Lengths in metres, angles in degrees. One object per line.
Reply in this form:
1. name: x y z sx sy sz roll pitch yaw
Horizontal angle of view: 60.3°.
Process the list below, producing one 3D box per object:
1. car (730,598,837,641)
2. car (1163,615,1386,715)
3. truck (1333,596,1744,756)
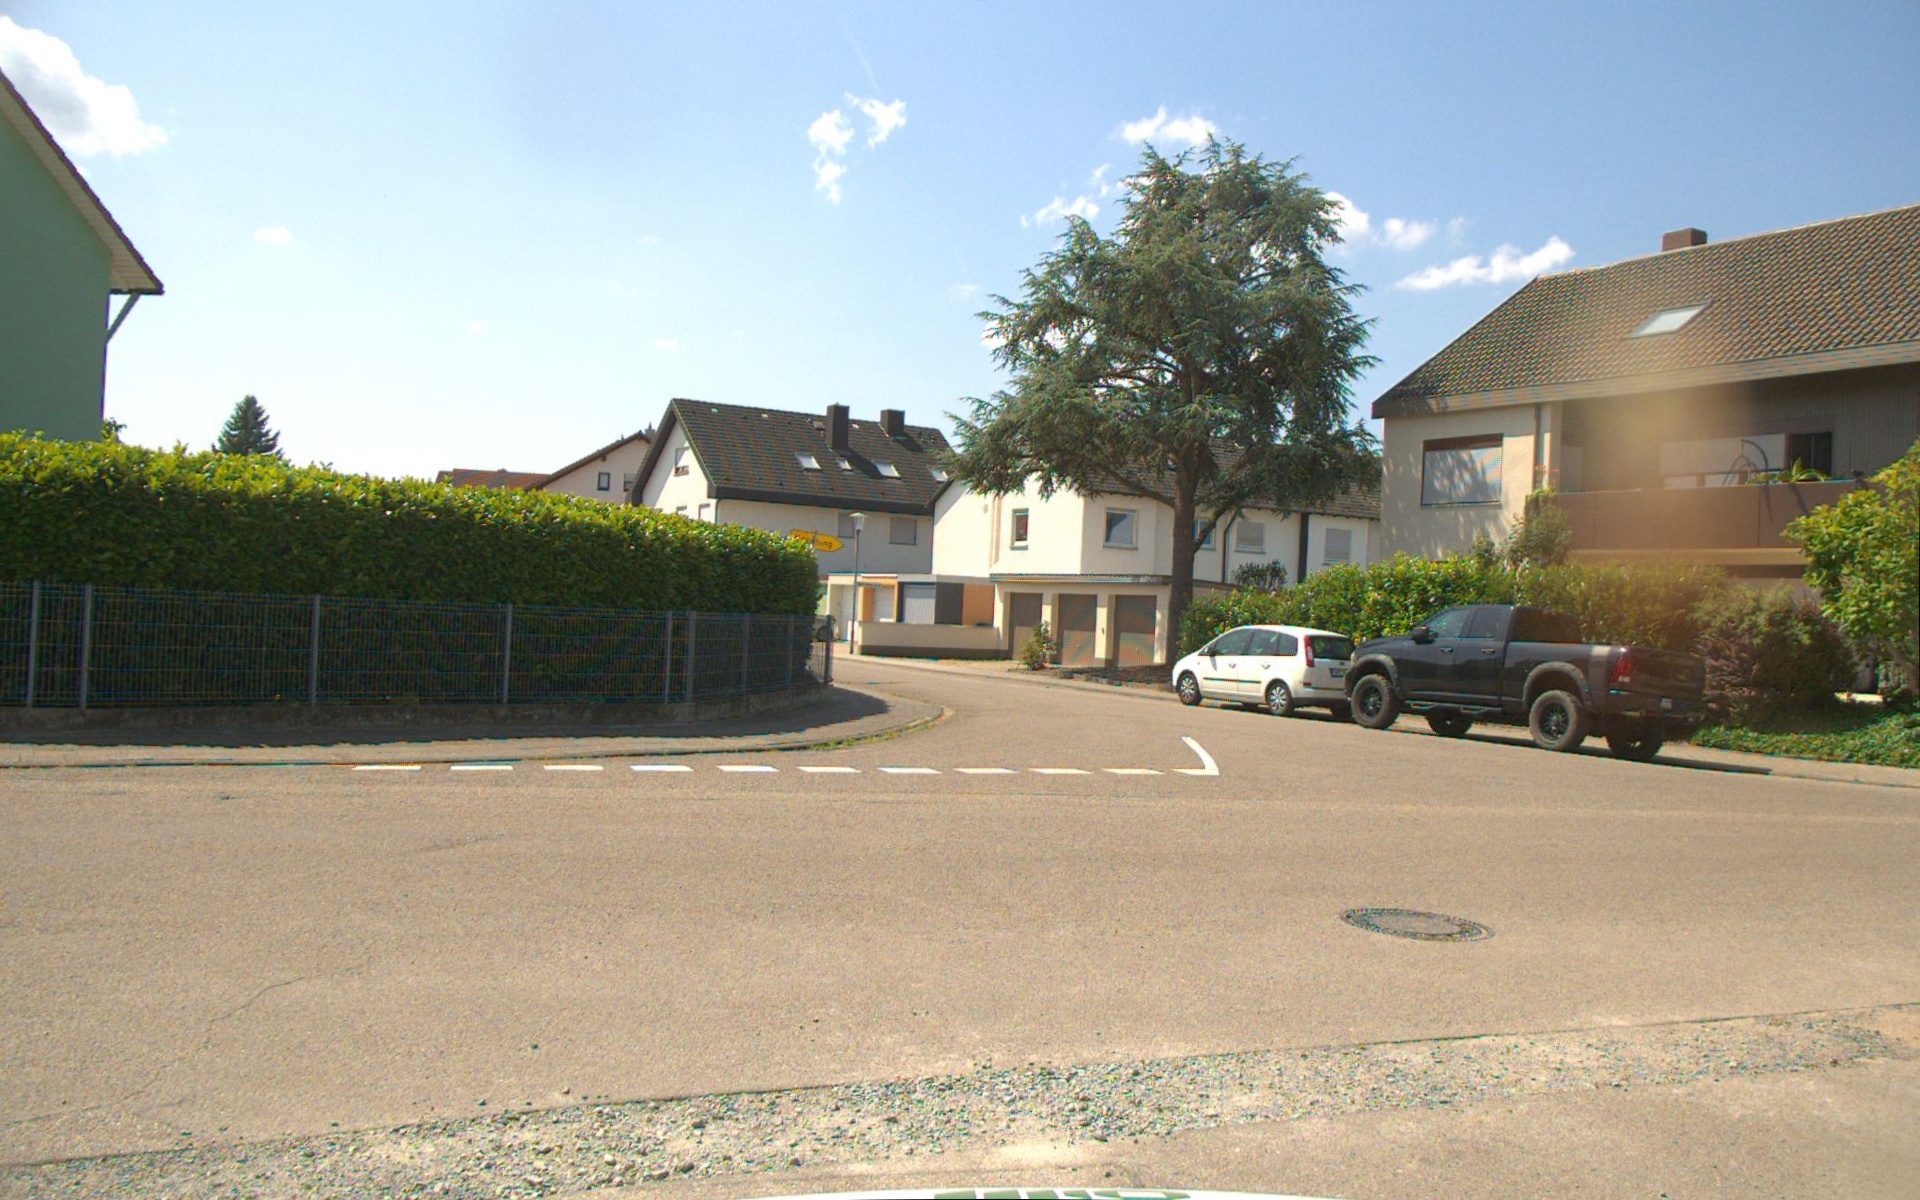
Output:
1. car: -6.618 0.726 62.137 3.561 1.433 1.766 3 -1 -30
2. car: 5.796 1.174 30.949 1.780 1.590 4.099 3 0 -32
3. truck: 8.599 1.058 25.200 2.341 2.049 5.649 3 0 -32
